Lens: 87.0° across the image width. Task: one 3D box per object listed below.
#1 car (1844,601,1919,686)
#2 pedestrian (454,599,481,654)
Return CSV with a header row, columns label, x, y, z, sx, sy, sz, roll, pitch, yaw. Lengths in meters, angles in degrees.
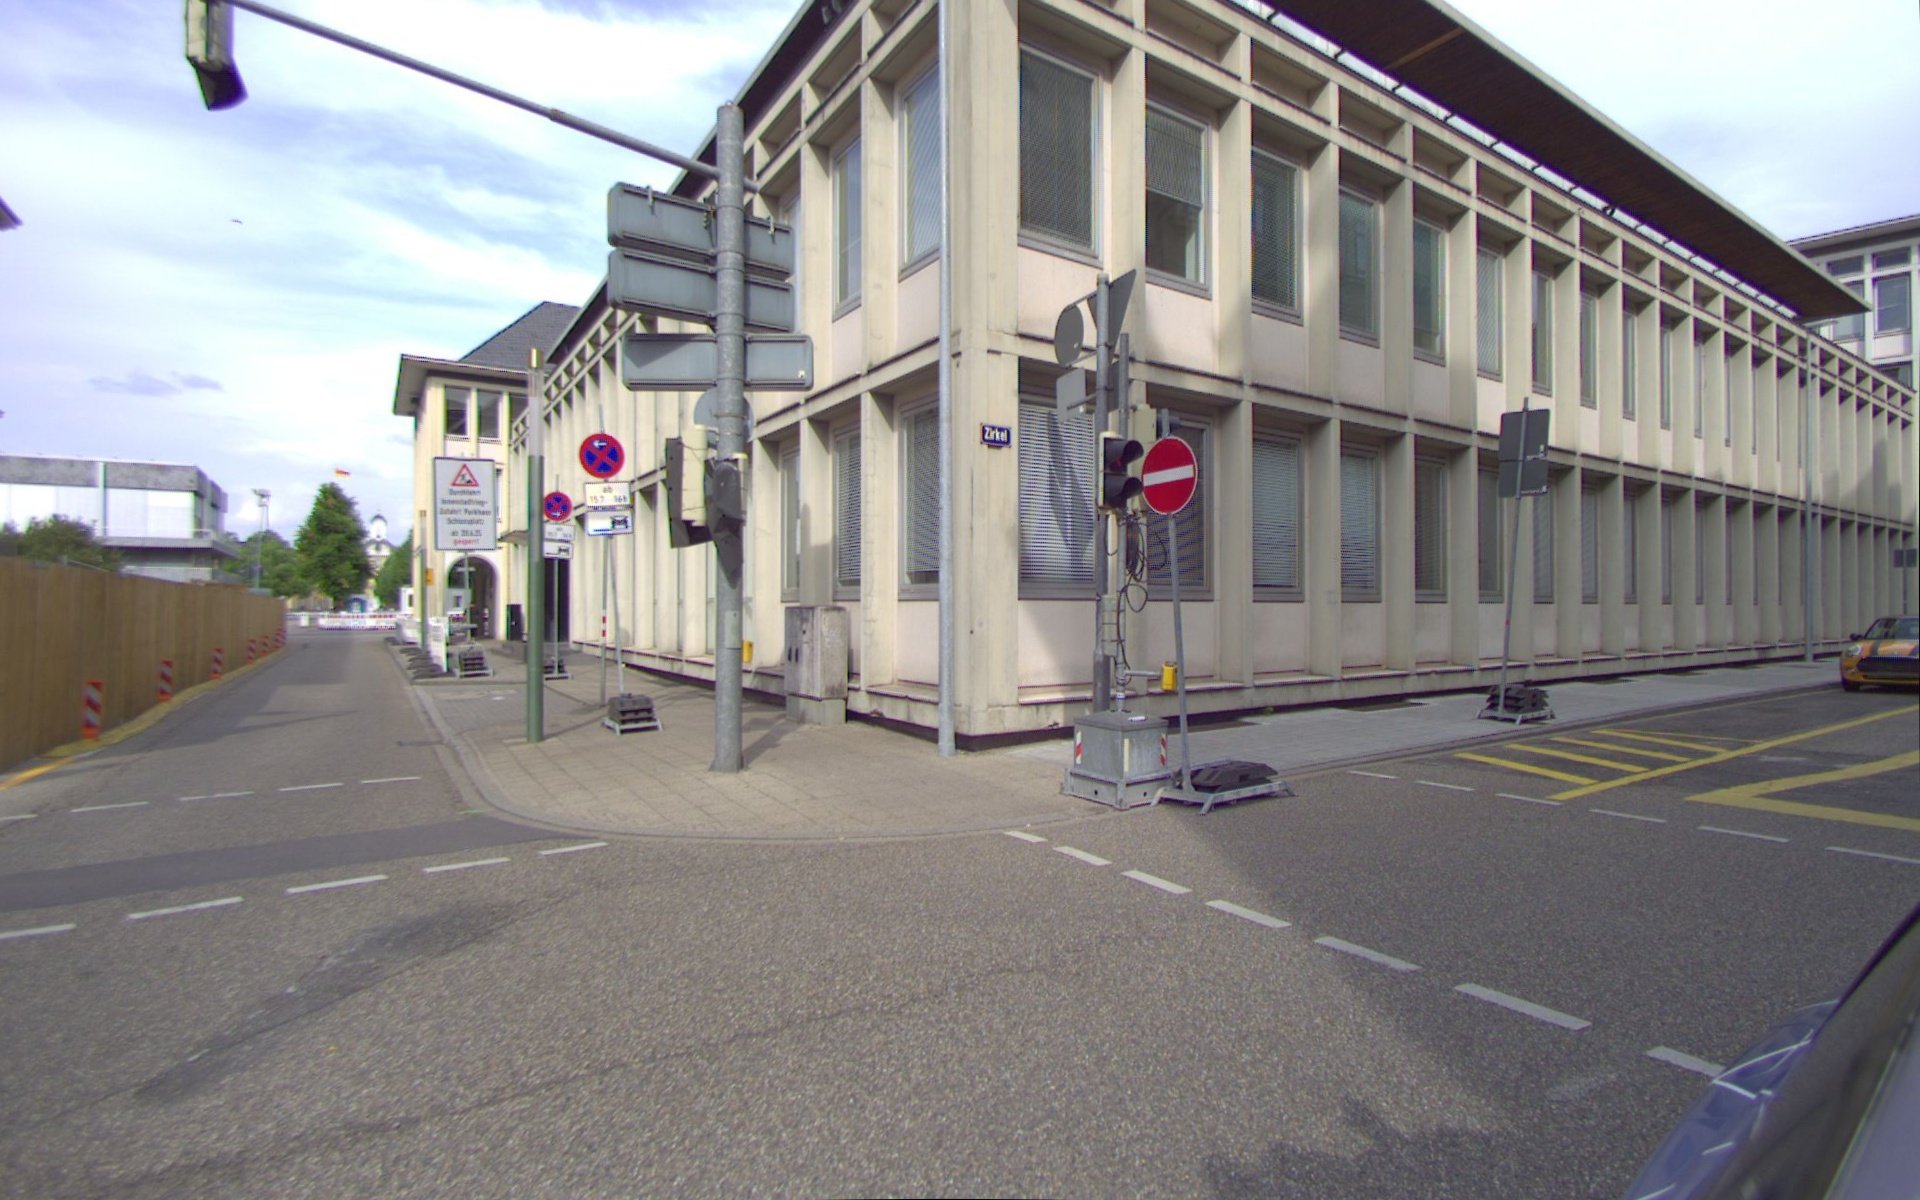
label,x,y,z,sx,sy,sz,roll,pitch,yaw
car,18.137,0.756,18.742,3.811,1.453,1.686,-1,-1,-33
pedestrian,-15.880,0.826,32.652,0.719,1.735,0.848,0,0,-30
